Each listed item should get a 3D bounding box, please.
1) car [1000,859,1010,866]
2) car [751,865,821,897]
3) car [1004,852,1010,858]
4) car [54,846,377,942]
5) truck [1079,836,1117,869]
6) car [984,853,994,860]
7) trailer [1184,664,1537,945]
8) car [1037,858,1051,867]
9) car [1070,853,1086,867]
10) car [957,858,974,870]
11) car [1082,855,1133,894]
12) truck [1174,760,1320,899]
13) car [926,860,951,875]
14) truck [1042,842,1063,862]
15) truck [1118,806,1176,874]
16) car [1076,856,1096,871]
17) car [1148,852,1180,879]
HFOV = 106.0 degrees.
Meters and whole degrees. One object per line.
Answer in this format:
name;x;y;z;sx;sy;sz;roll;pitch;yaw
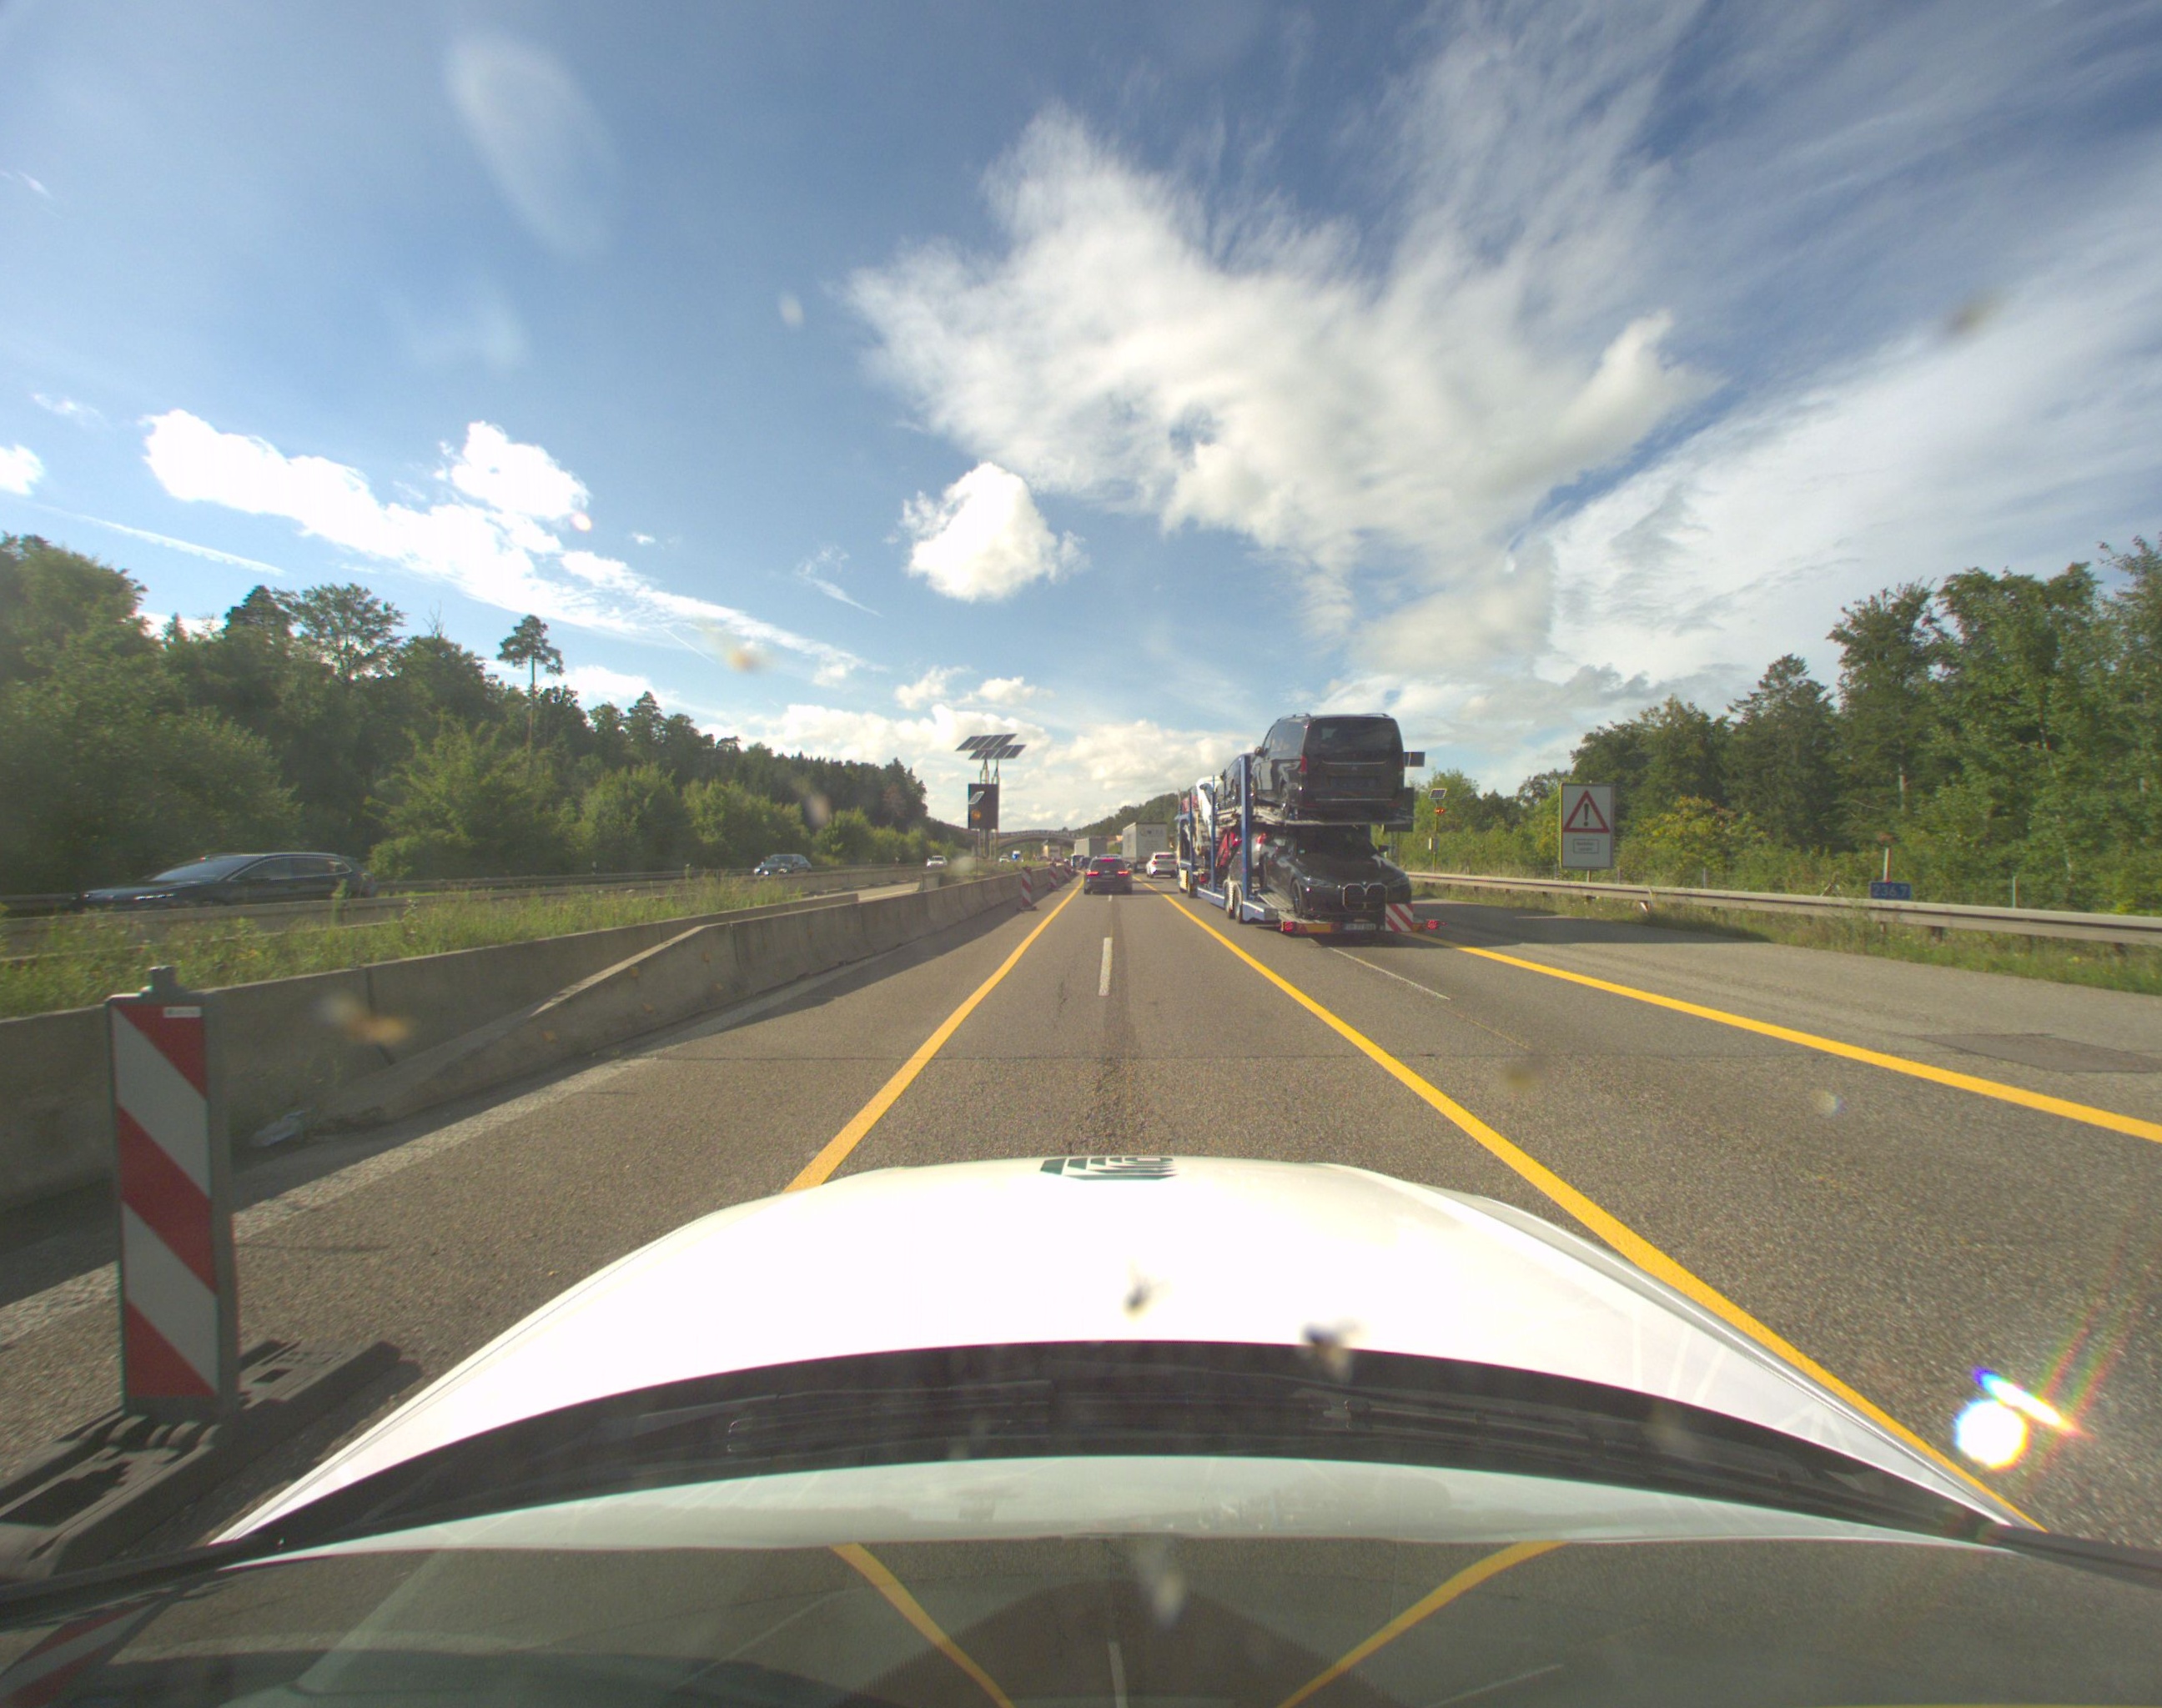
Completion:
car;-17.279;1.888;184.784;1.772;1.602;4.018;0;0;0
car;-15.657;1.397;43.477;1.951;1.588;4.484;0;0;2
car;-23.596;0.233;260.407;1.775;1.866;3.998;0;0;-1
car;-16.280;0.687;15.685;1.770;1.602;4.021;0;0;4
truck;2.325;-0.193;117.546;4.312;4.600;11.107;0;0;-4
car;-21.287;0.633;188.083;1.963;1.602;4.943;0;0;-2
trailer;5.224;-0.711;20.363;3.712;4.196;16.233;0;0;2
car;-6.507;1.490;142.748;1.778;1.602;4.003;0;0;-10
car;-0.394;0.751;102.935;1.886;1.643;4.012;0;0;-4
car;-16.083;1.345;113.763;1.773;1.602;4.674;0;0;-1
car;1.100;0.765;32.252;1.882;1.446;4.004;0;0;4
truck;5.494;-0.720;28.687;3.747;4.196;7.954;0;0;2
car;-15.721;1.490;89.784;1.770;1.602;4.021;0;0;4
truck;-6.157;-0.392;172.944;3.650;3.928;11.042;0;0;-6
truck;5.544;-1.074;71.946;3.666;5.353;16.194;0;0;-1
car;0.555;1.000;89.535;1.887;1.643;4.012;0;0;-4
car;5.299;0.703;52.559;1.882;1.643;4.021;0;0;4
